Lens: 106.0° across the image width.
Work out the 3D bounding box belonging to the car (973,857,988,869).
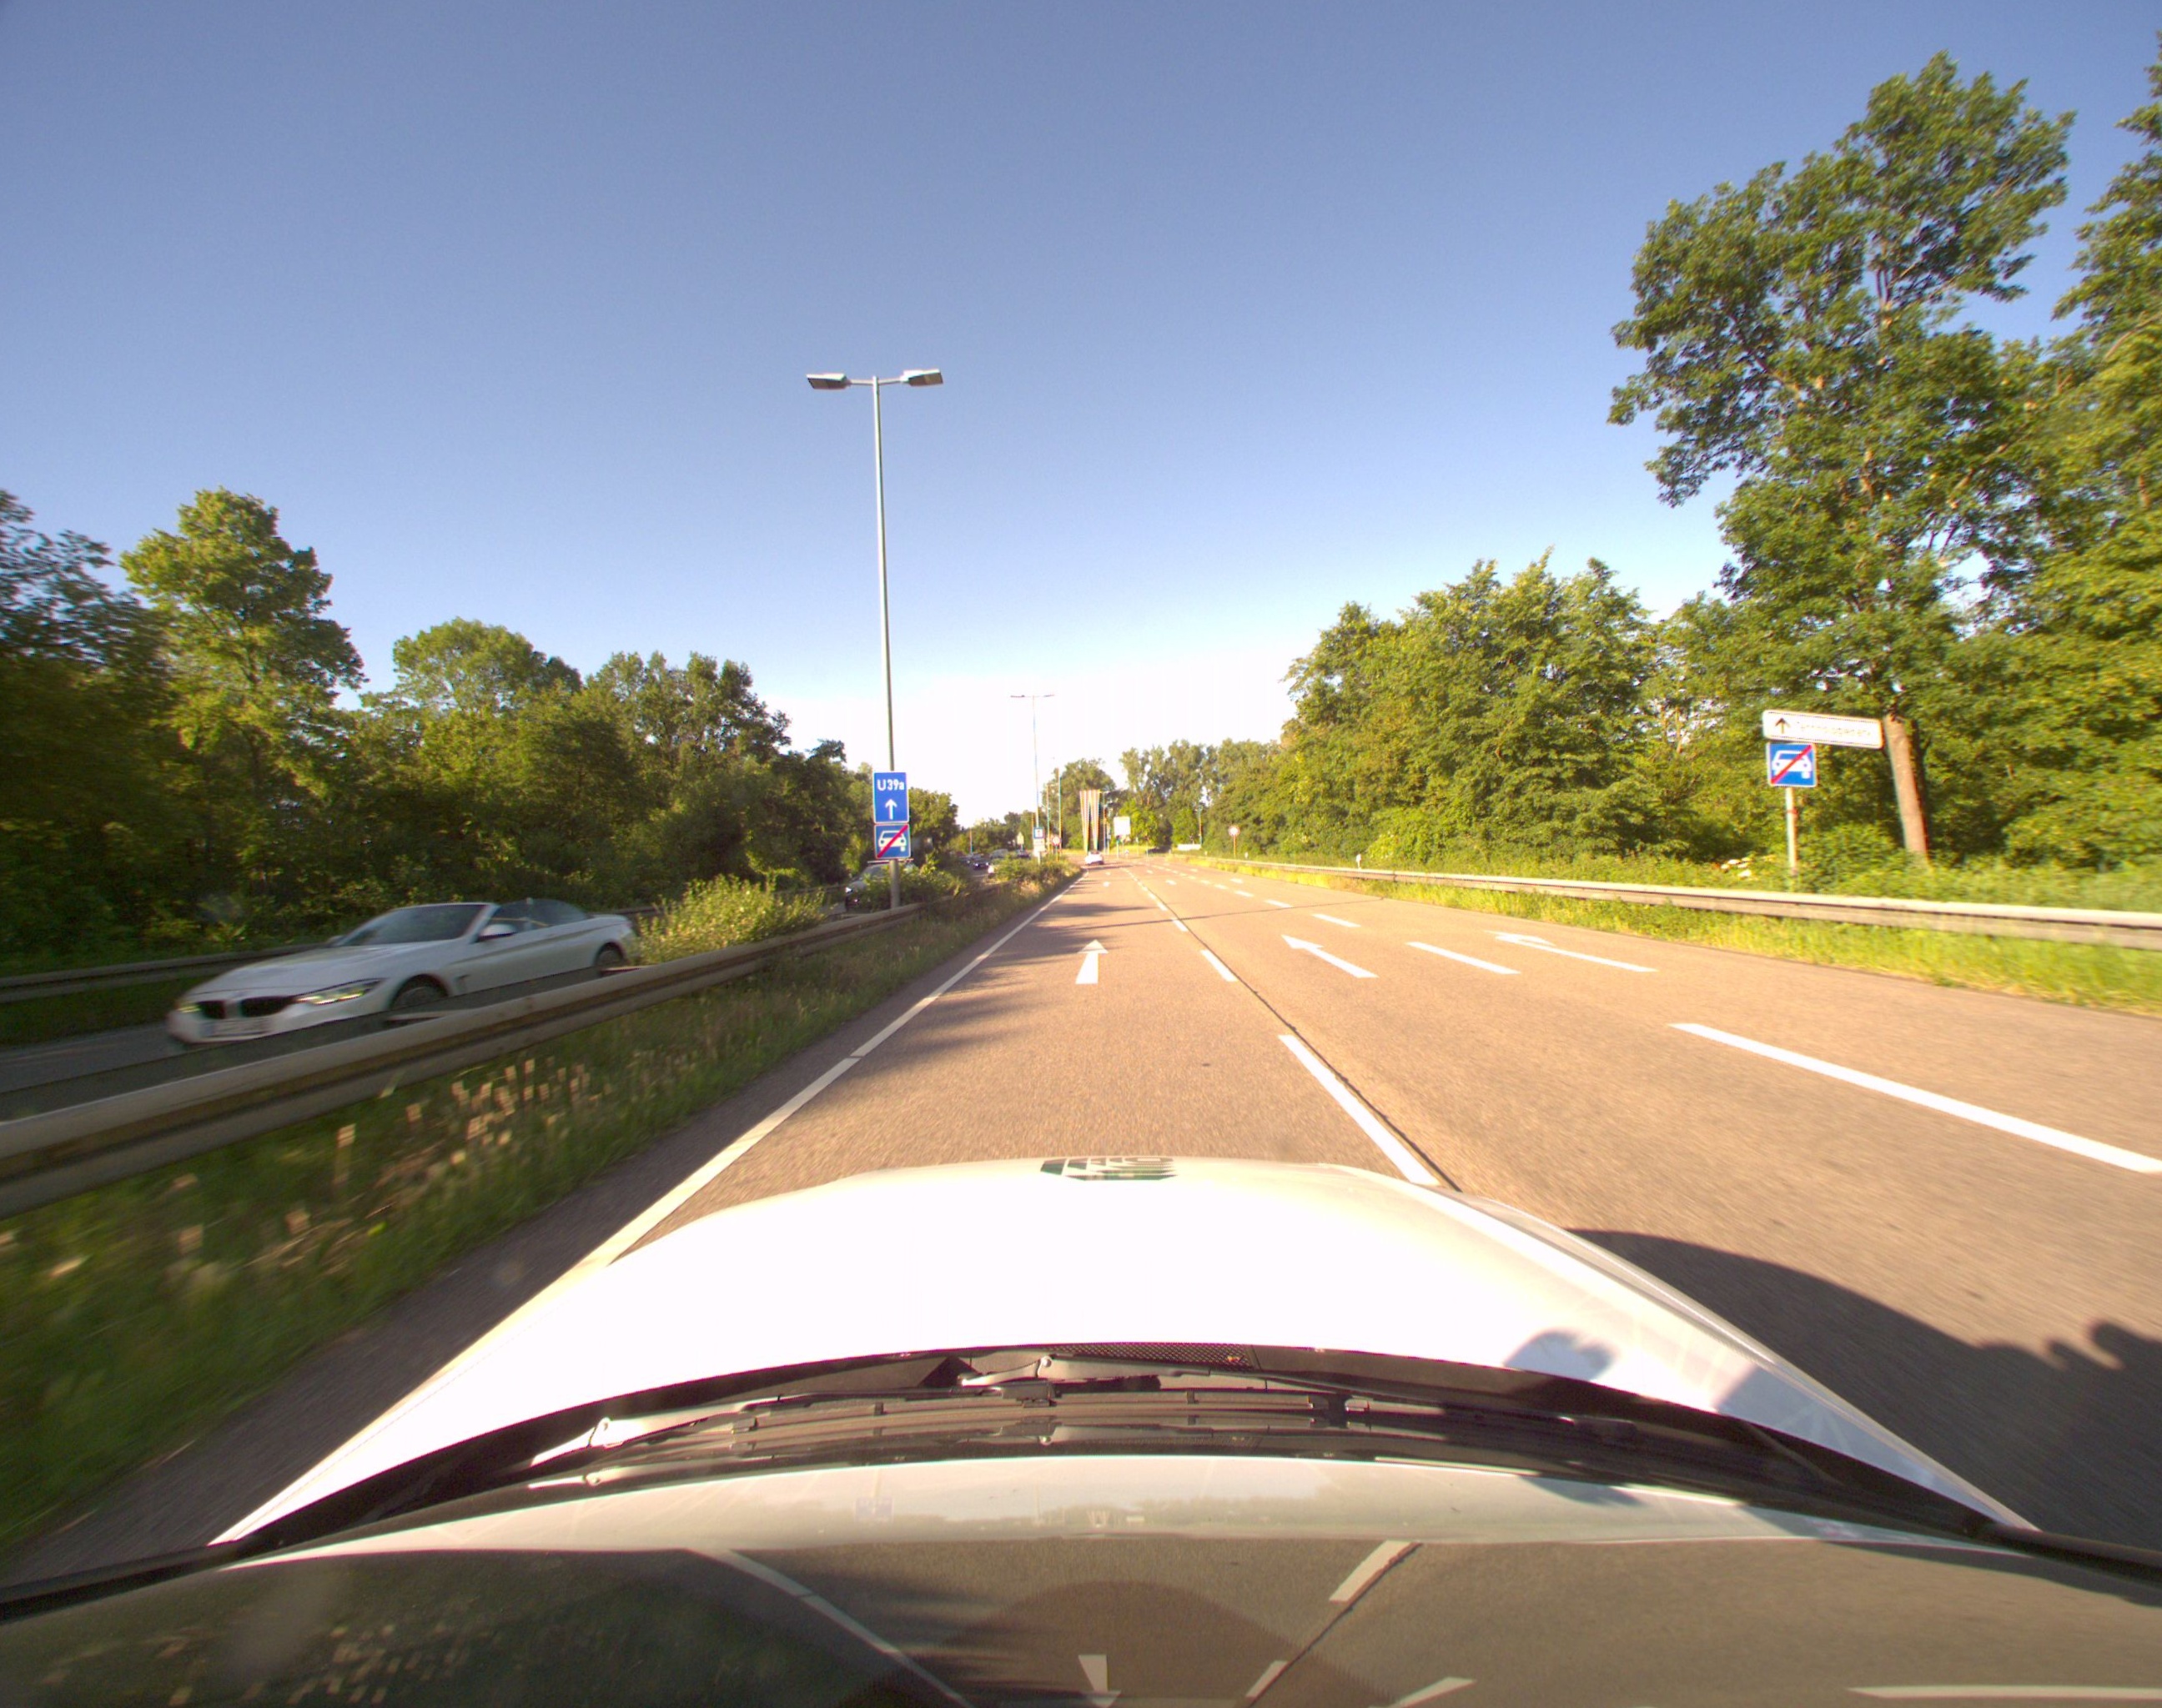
[{"bbox_3d":[-13.652,1.239,111.036,1.802,1.416,4.523,-4,0,-5],"label":"car"}]

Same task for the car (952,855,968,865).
[{"bbox_3d":[-19.454,1.010,130.516,1.890,1.420,4.341,-5,0,-16],"label":"car"}]

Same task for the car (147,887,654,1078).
[{"bbox_3d":[-6.918,1.175,9.103,1.766,1.356,4.464,-3,0,2],"label":"car"}]

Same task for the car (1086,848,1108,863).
[{"bbox_3d":[1.829,0.121,94.785,1.992,1.640,4.118,-3,1,-7],"label":"car"}]

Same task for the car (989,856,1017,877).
[{"bbox_3d":[-6.436,1.005,67.602,1.763,1.569,4.219,-3,0,1],"label":"car"}]

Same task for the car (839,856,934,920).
[{"bbox_3d":[-6.150,1.017,26.310,1.827,1.772,4.340,-3,0,2],"label":"car"}]

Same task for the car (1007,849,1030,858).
[{"bbox_3d":[-11.407,-0.128,148.842,1.987,1.474,4.104,-4,2,-43],"label":"car"}]

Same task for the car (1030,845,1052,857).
[{"bbox_3d":[-6.625,-0.442,133.545,2.005,1.879,4.211,-3,1,-27],"label":"car"}]

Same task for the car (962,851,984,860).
[{"bbox_3d":[-20.688,0.286,156.008,3.950,1.508,2.287,-3,0,44],"label":"car"}]

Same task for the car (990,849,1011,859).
[{"bbox_3d":[-14.517,-0.031,146.968,1.983,1.698,3.958,-4,1,-34],"label":"car"}]
